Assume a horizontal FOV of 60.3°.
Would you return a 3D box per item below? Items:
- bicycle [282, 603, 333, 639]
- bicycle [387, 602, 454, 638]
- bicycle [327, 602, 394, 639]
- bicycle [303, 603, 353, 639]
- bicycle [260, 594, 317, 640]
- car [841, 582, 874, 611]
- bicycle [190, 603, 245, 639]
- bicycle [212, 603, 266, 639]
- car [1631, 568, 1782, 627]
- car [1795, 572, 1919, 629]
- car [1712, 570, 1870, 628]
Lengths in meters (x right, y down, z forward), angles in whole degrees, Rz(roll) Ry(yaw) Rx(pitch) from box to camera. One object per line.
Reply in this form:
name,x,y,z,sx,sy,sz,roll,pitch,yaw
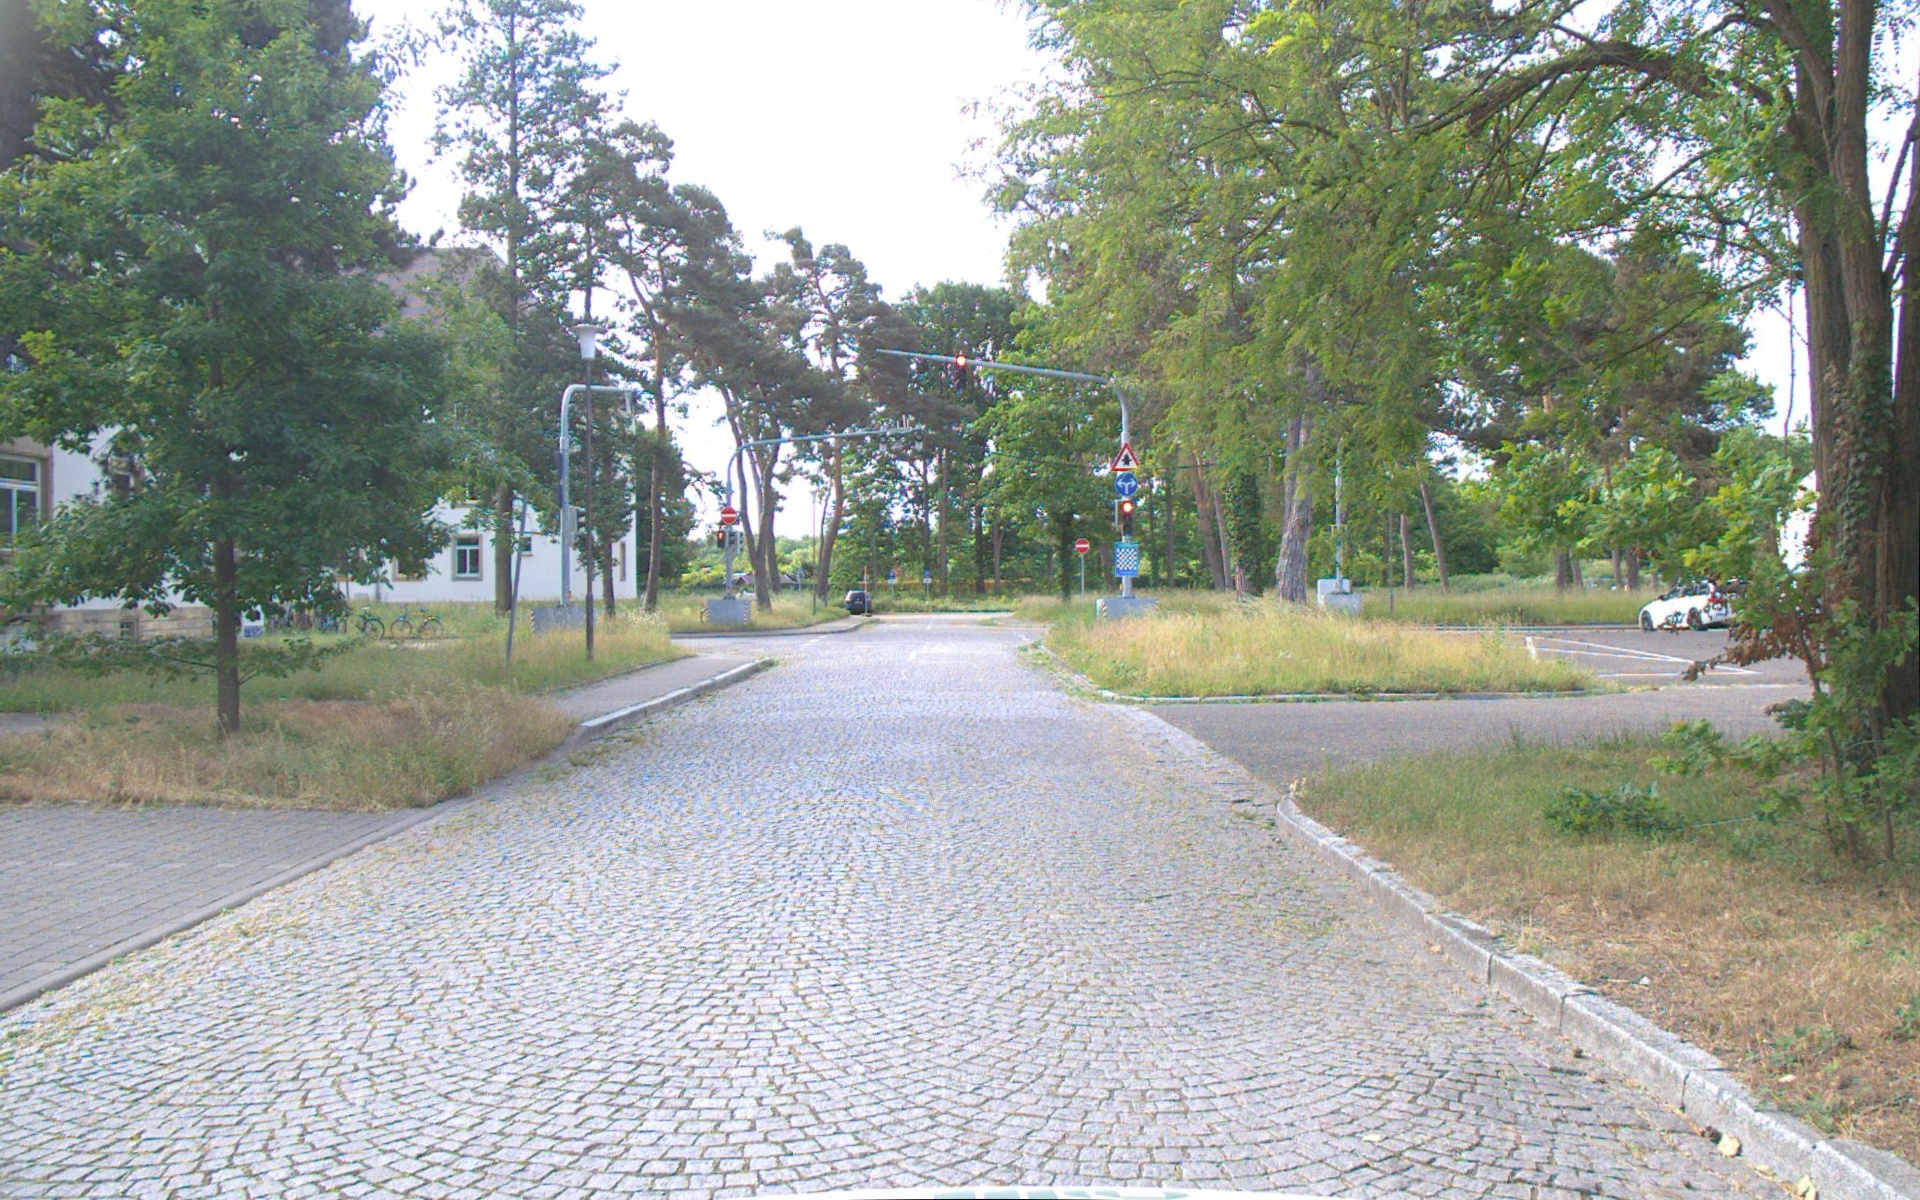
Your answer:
bicycle,-20.808,0.665,52.781,0.721,1.095,2.273,-1,0,0
bicycle,-16.854,0.621,51.711,1.818,1.095,0.831,-1,0,1
bicycle,-18.705,0.633,51.643,1.818,1.095,0.738,-1,0,1
bicycle,-20.179,0.651,52.871,0.721,1.095,2.273,-1,0,0
bicycle,-21.544,0.520,53.125,0.721,1.410,2.711,-1,0,0
car,-6.726,-0.229,109.201,2.014,1.878,3.999,-1,0,-2
bicycle,-23.677,0.651,52.780,0.721,1.095,2.273,-1,0,0
bicycle,-22.957,0.646,52.719,0.721,1.095,2.273,-1,0,0
car,20.704,-0.032,46.097,1.954,1.507,4.421,-1,-1,-4
car,25.781,0.036,46.650,1.954,1.507,4.421,-1,-1,-4
car,23.169,0.001,46.316,1.954,1.507,4.421,-1,-1,-4
